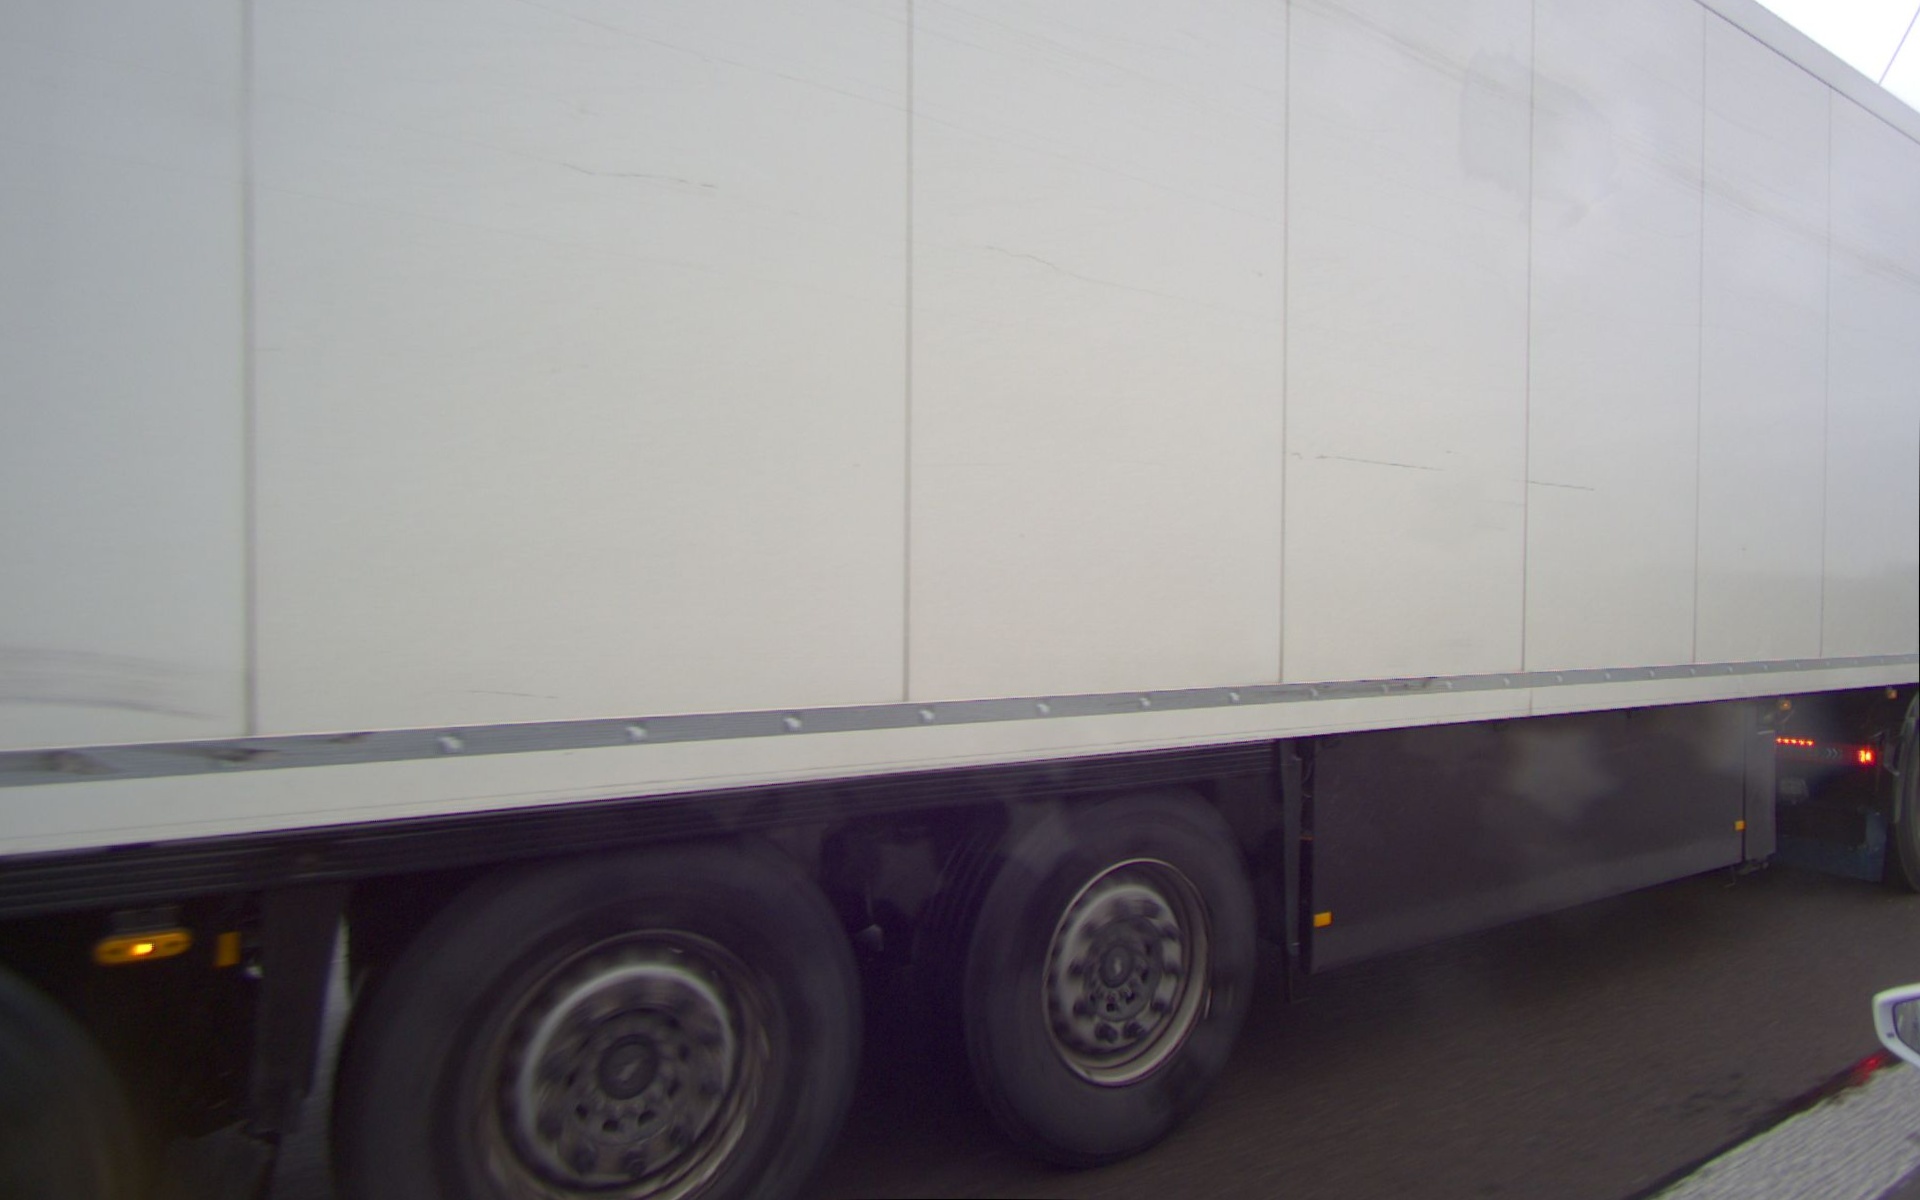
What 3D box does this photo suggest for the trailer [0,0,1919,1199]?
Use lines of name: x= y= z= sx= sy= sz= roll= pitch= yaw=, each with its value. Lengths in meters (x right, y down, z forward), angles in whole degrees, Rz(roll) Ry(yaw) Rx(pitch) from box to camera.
trailer: x=0.935 y=-0.569 z=4.098 sx=14.652 sy=4.213 sz=2.331 roll=1 pitch=0 yaw=-31

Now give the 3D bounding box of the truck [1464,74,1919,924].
truck: x=6.836 y=-0.465 z=7.594 sx=6.272 sy=4.213 sz=2.331 roll=1 pitch=0 yaw=-30
